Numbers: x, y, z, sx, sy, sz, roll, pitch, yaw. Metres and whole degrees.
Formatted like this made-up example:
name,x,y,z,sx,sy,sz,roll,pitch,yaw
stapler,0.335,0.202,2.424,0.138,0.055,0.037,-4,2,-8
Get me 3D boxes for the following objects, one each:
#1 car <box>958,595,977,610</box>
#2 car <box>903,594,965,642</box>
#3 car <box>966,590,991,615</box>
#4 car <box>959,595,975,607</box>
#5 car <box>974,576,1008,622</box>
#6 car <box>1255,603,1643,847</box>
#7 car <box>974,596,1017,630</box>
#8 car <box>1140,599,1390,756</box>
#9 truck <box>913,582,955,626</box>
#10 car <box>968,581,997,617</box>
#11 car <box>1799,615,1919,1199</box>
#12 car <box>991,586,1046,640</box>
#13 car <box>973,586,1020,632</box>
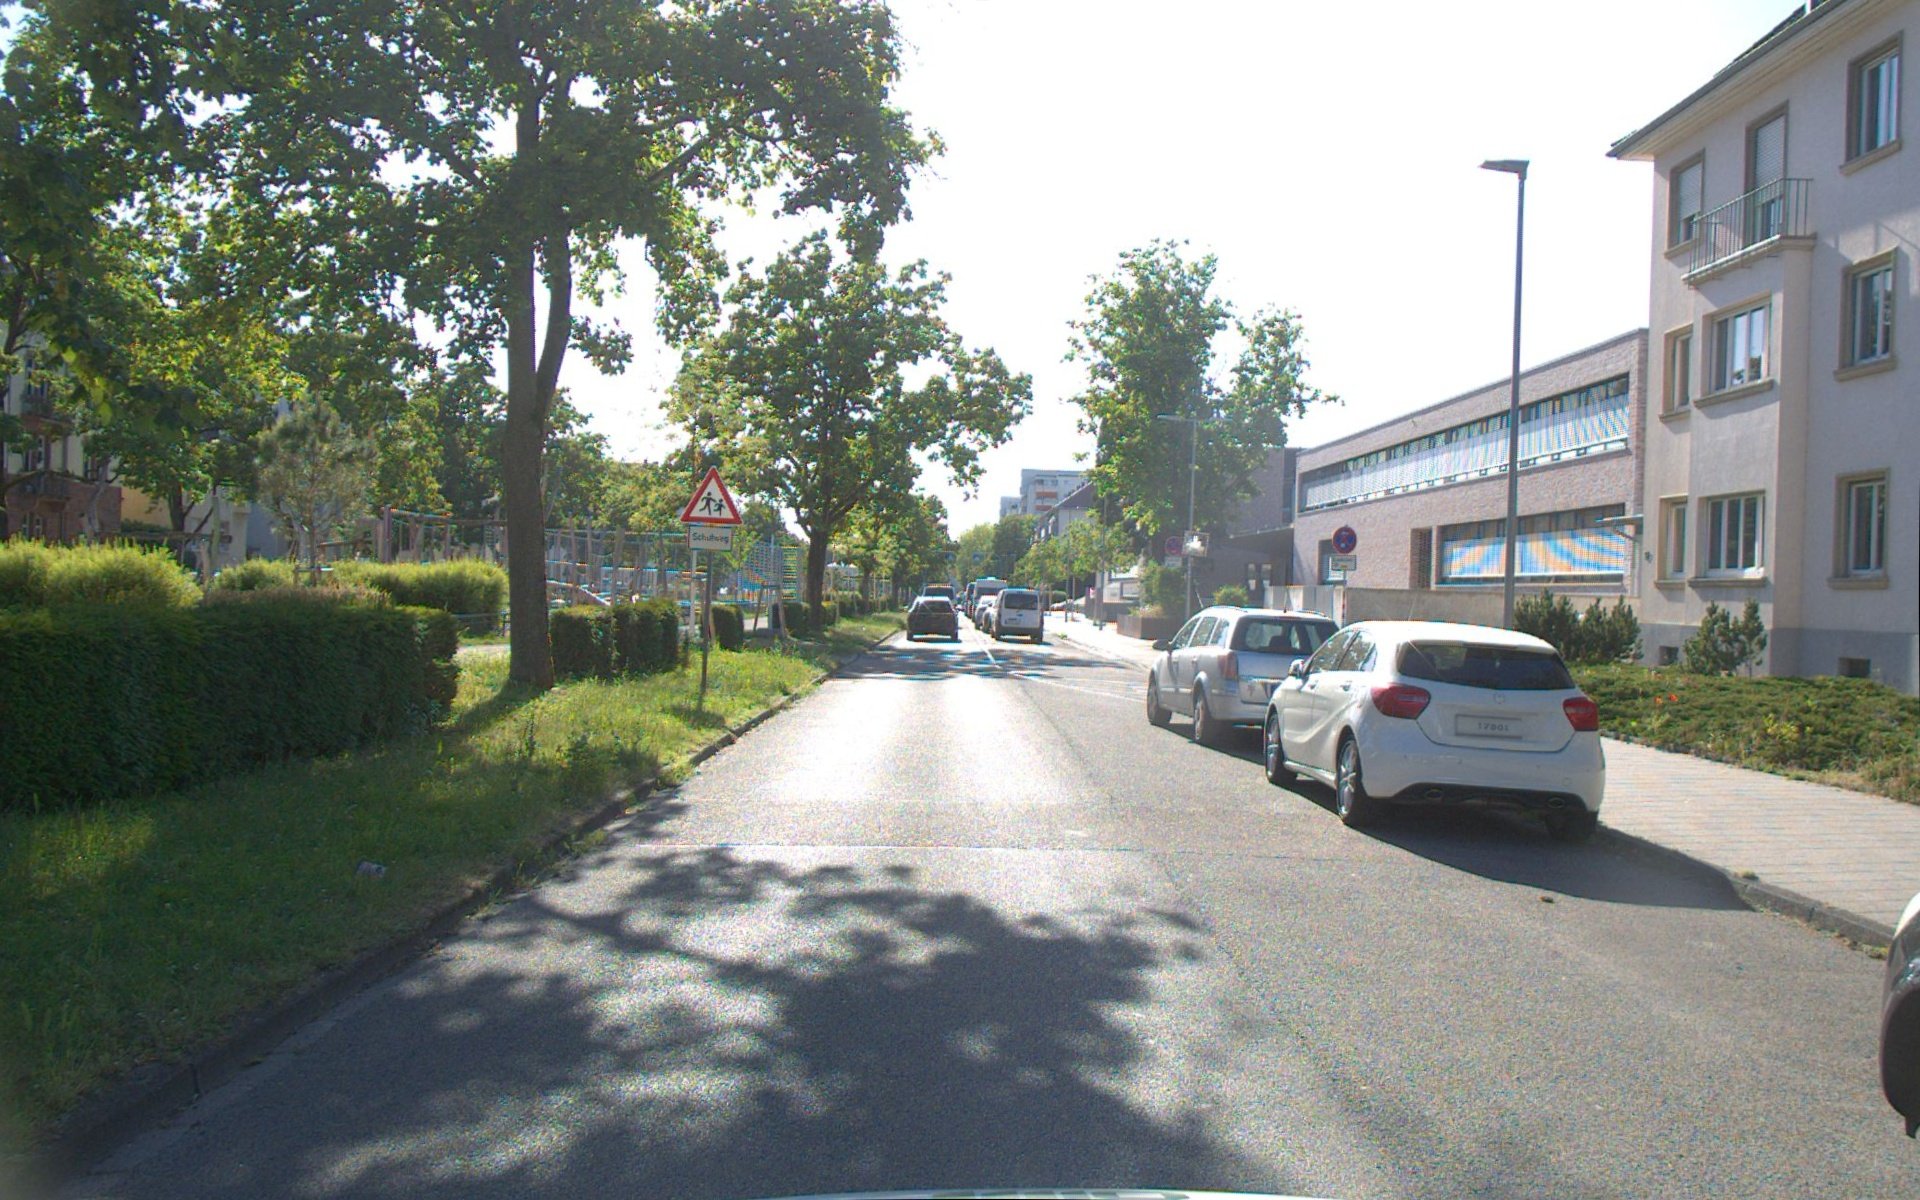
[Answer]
name,x,y,z,sx,sy,sz,roll,pitch,yaw
car,0.727,0.280,160.817,1.780,1.382,3.999,2,0,-1
car,-0.947,0.578,57.498,1.954,1.551,4.753,1,0,-3
car,1.369,0.181,125.905,1.780,1.867,3.999,2,0,-1
car,0.831,0.058,201.421,1.780,1.382,3.999,2,0,-1
car,1.776,-0.069,96.886,1.780,2.562,3.999,2,0,-1
car,3.606,0.835,12.975,1.759,1.520,3.999,3,0,-1
car,1.625,0.582,76.494,1.780,1.424,3.999,2,0,-1
car,3.384,0.801,19.104,1.761,1.520,3.995,3,0,-6
truck,-1.283,0.178,81.224,1.953,2.071,4.873,1,0,-1
car,1.536,-0.069,113.919,1.780,2.395,3.999,2,0,-1
car,3.294,0.850,2.877,1.637,1.520,3.825,3,0,-1
car,2.096,0.439,60.330,1.780,1.862,3.999,2,0,-1
car,1.534,0.376,70.824,1.780,1.862,3.999,2,0,-1
